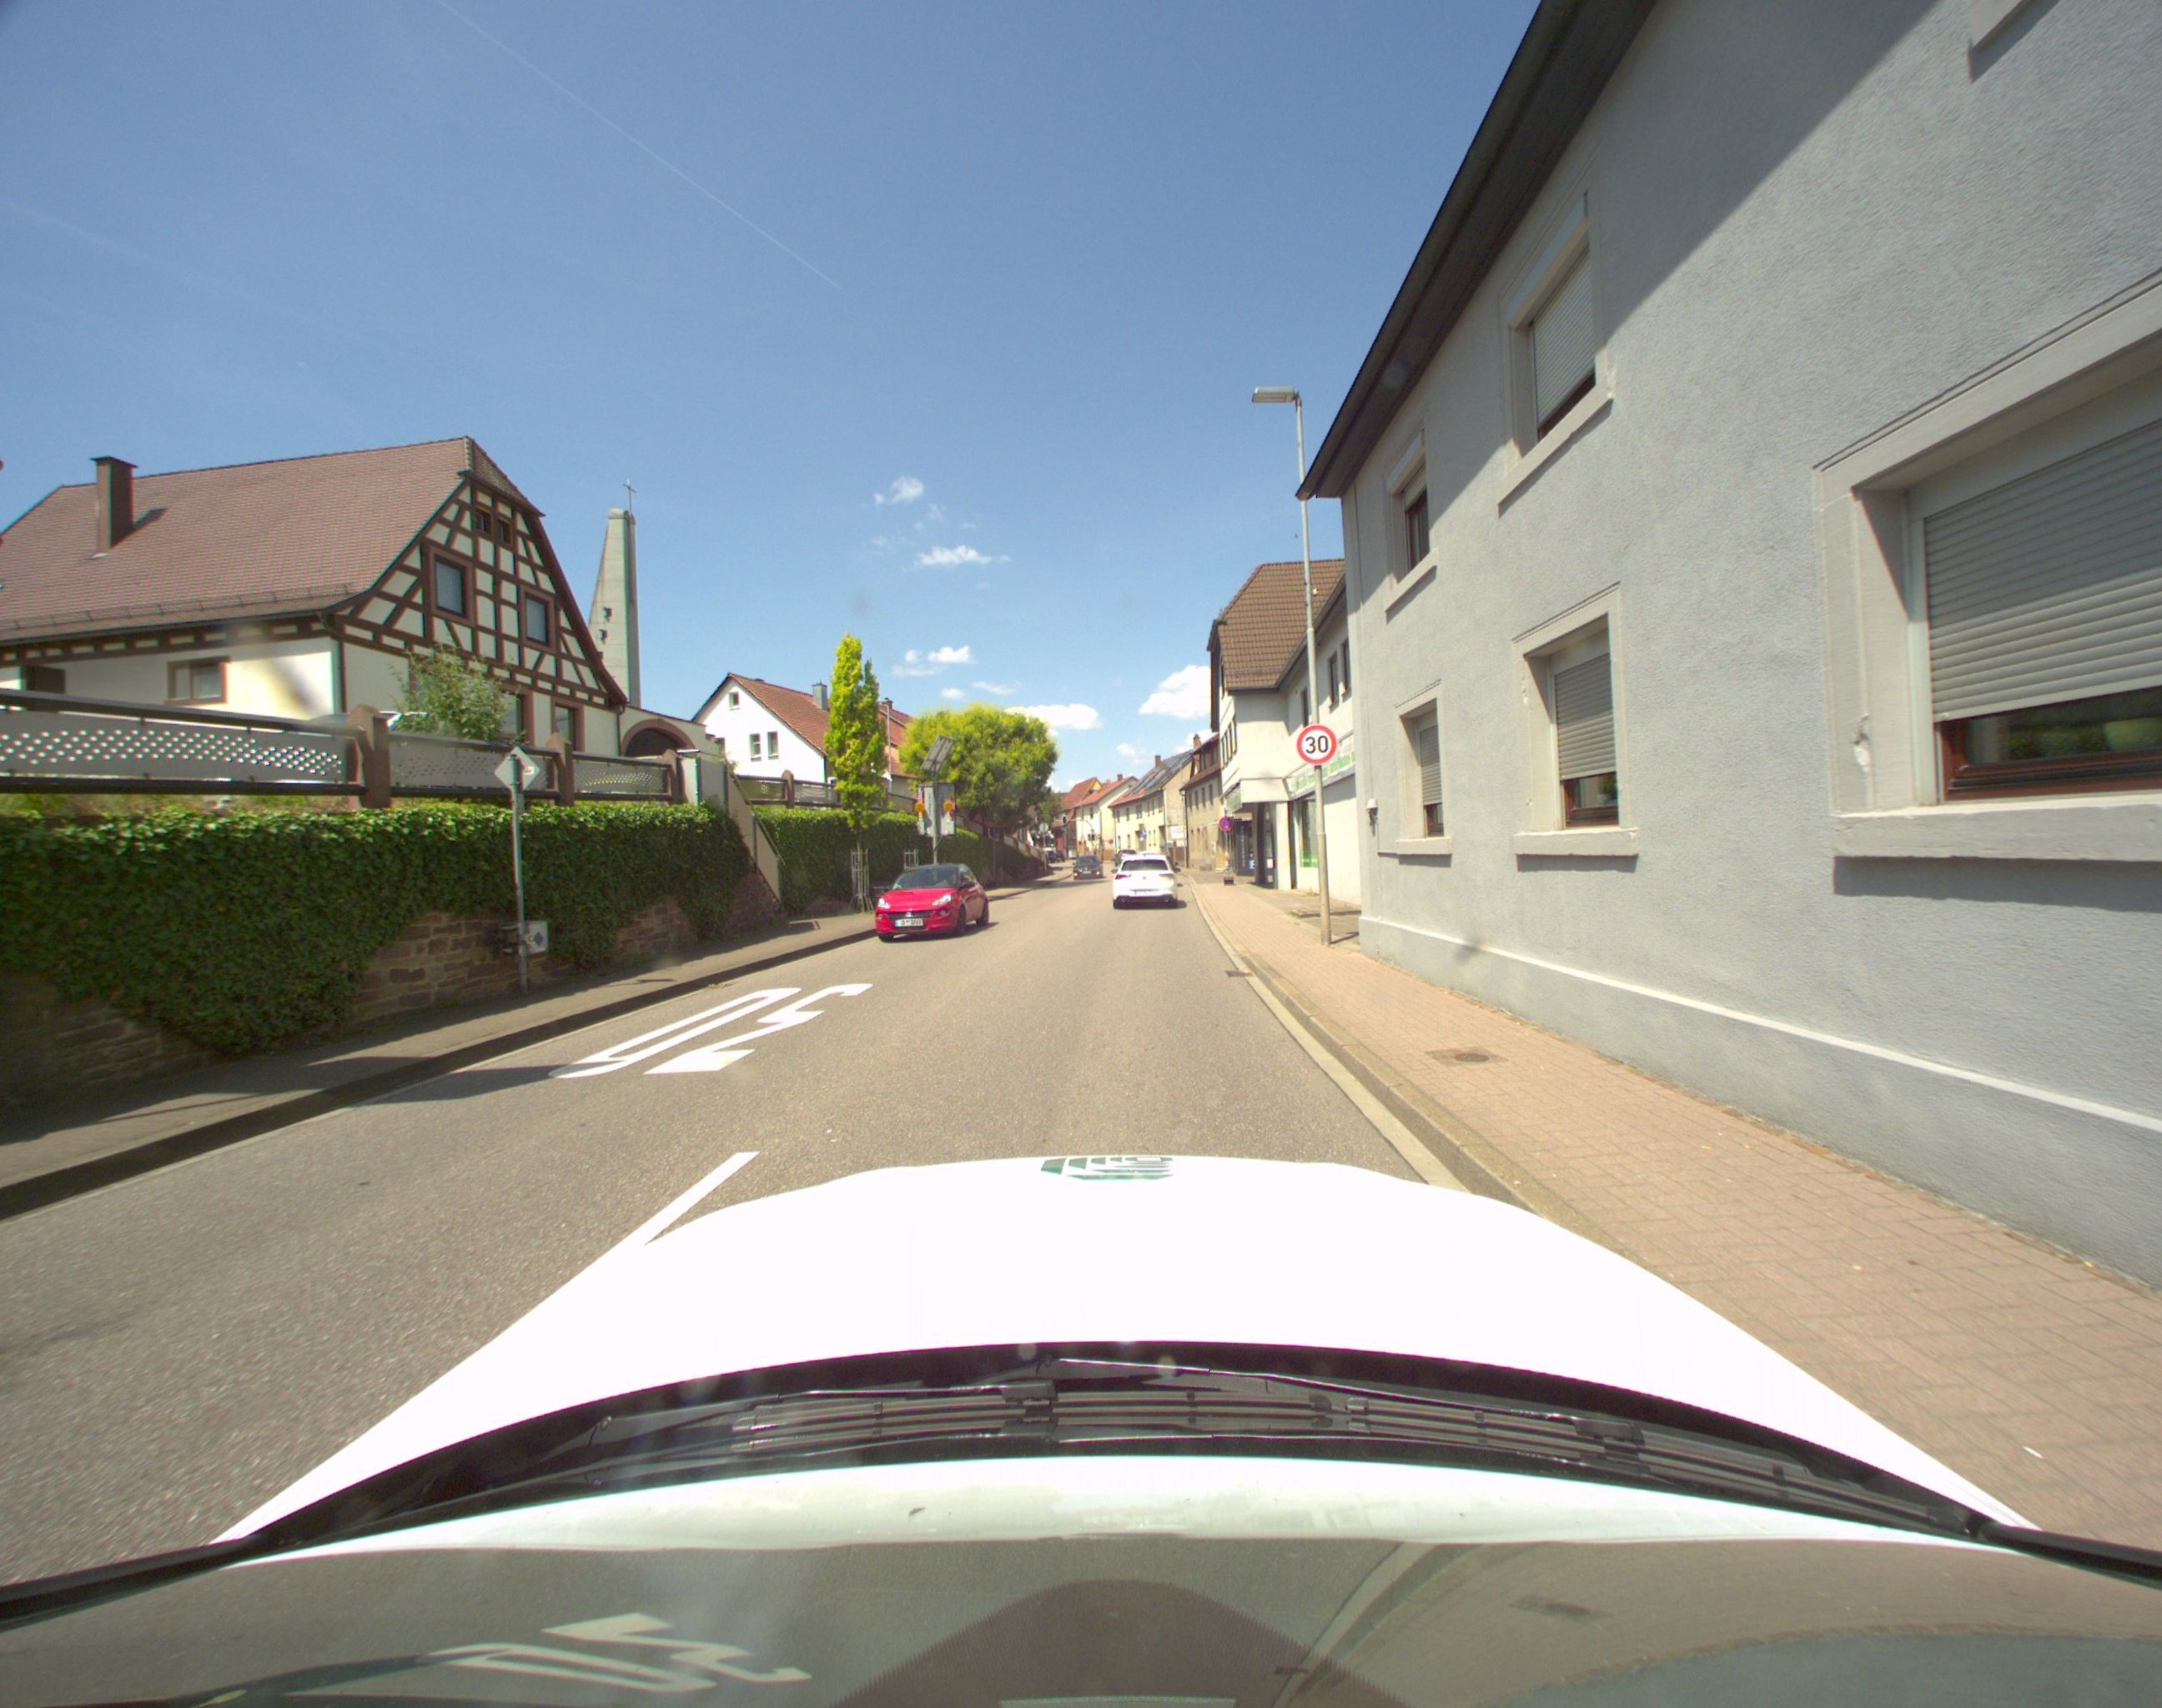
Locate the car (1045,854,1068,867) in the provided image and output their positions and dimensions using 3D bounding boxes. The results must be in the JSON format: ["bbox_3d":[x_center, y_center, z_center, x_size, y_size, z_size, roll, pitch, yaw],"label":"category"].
[{"bbox_3d":[-3.087,0.833,102.070,1.782,1.538,3.973,-2,0,-20],"label":"car"}]

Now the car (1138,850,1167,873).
[{"bbox_3d":[4.815,0.483,54.986,1.800,1.467,4.003,0,-1,3],"label":"car"}]

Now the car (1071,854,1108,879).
[{"bbox_3d":[0.546,0.753,49.197,1.785,1.377,4.124,-2,0,6],"label":"car"}]

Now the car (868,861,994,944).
[{"bbox_3d":[-3.038,0.930,17.238,1.610,1.444,3.806,-4,0,4],"label":"car"}]

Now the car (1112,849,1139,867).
[{"bbox_3d":[3.939,0.375,72.659,1.773,1.538,3.991,-2,0,-6],"label":"car"}]

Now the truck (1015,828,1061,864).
[{"bbox_3d":[-5.259,-0.859,97.708,2.655,4.028,9.125,-2,0,-21],"label":"truck"}]

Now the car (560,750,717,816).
[{"bbox_3d":[-10.192,-1.681,19.126,1.572,1.361,3.855,-2,5,-2],"label":"car"}]

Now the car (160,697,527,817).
[{"bbox_3d":[-9.901,-1.314,11.432,1.572,1.361,3.855,-2,5,-2],"label":"car"}]

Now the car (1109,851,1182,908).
[{"bbox_3d":[1.756,0.691,23.228,1.802,1.467,4.000,0,-1,0],"label":"car"}]
